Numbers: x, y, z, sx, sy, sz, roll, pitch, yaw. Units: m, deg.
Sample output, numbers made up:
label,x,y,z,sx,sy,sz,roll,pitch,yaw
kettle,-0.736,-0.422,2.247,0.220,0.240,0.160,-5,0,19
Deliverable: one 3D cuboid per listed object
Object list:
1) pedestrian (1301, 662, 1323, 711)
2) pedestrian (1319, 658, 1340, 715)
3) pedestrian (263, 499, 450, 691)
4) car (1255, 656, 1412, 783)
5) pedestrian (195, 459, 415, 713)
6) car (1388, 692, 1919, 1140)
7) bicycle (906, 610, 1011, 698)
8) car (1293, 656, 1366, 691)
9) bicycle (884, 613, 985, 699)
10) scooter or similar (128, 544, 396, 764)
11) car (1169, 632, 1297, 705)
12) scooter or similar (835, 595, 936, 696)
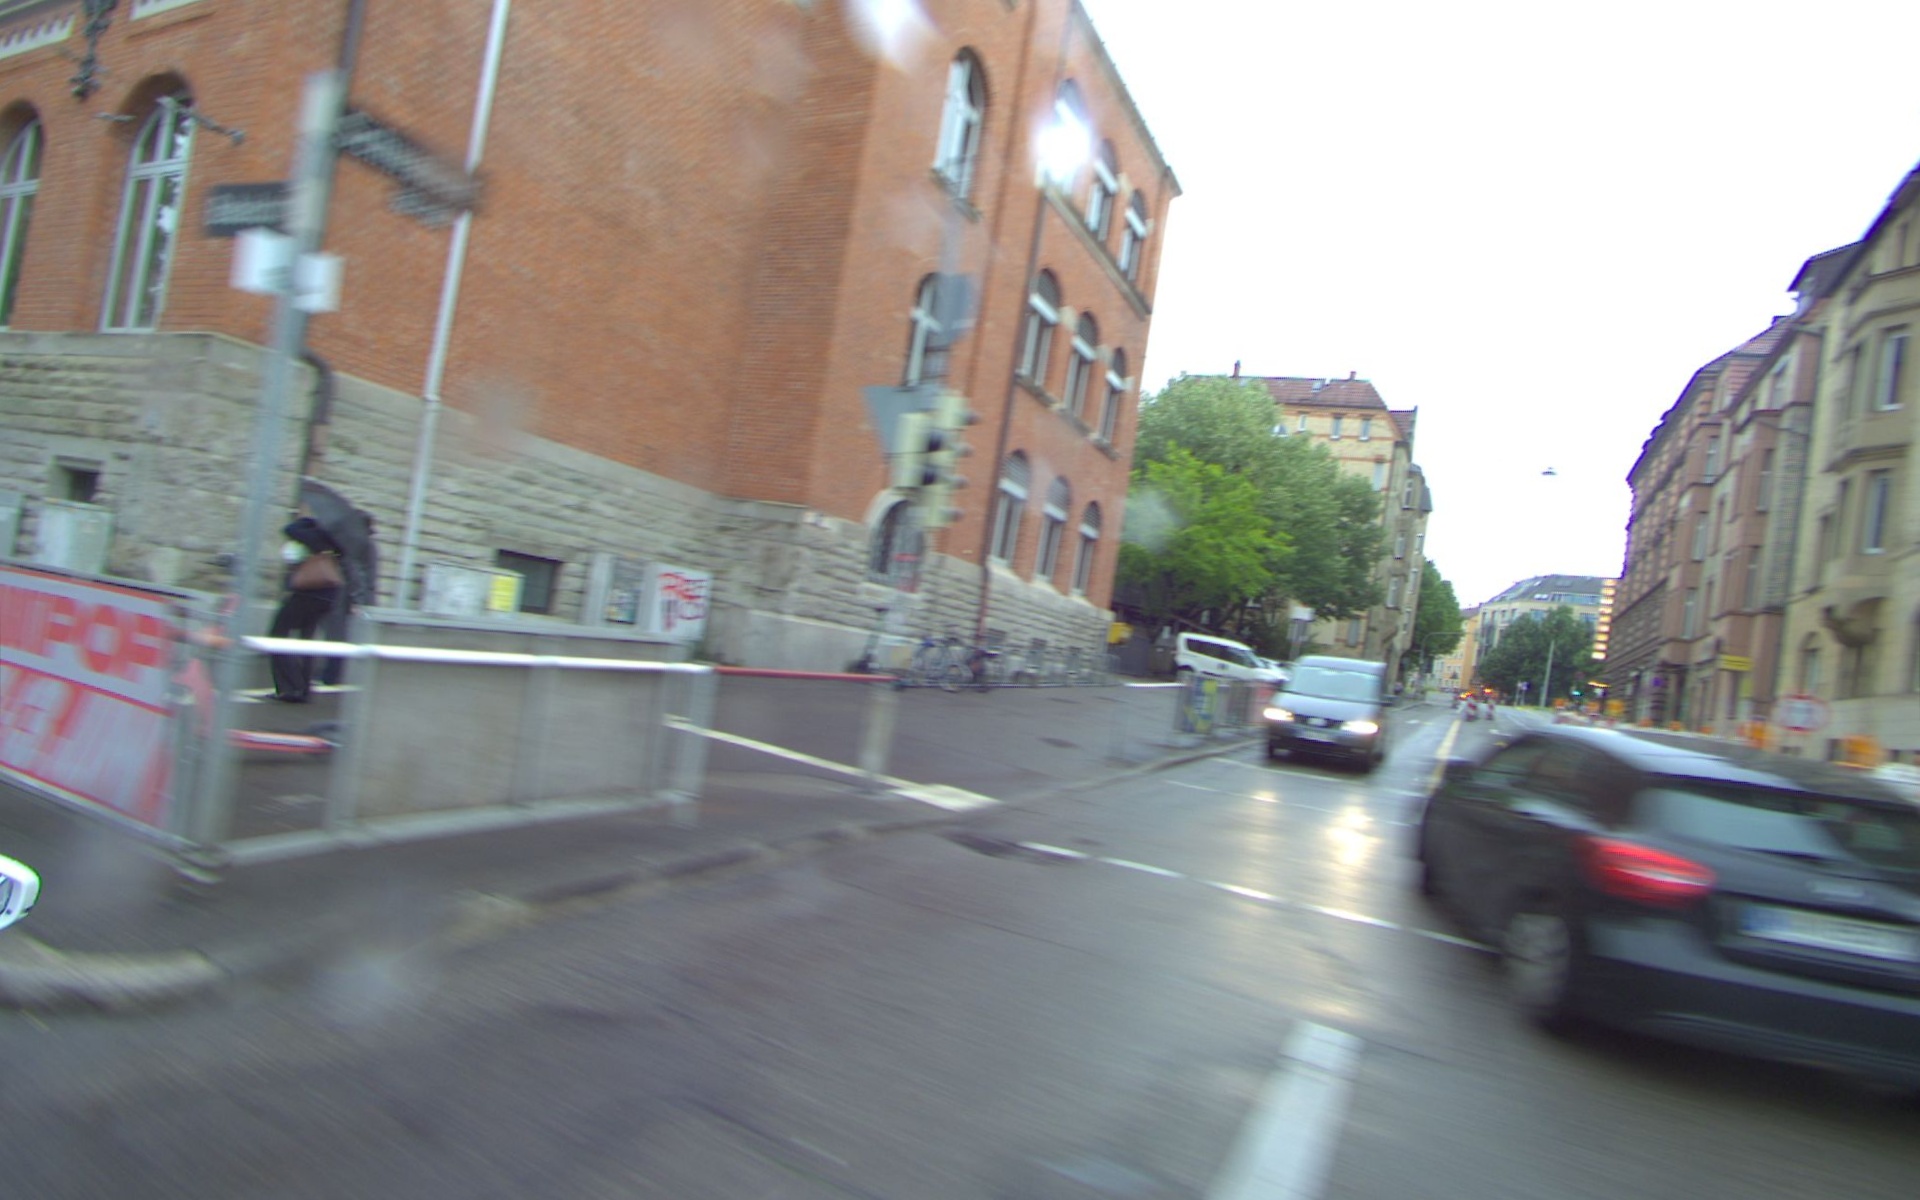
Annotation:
label,x,y,z,sx,sy,sz,roll,pitch,yaw
pedestrian,12.256,3.002,35.001,0.483,1.638,0.525,6,-2,27
pedestrian,12.762,2.990,34.757,0.427,1.919,0.537,6,-2,27
pedestrian,-5.693,-0.026,9.518,1.054,1.645,0.960,6,0,27
car,6.489,1.927,17.232,1.706,1.718,3.991,6,0,30
pedestrian,-5.406,-0.102,8.330,1.054,1.910,0.960,7,0,27
car,3.861,1.416,5.818,1.766,1.391,4.004,7,-1,14
bicycle,-0.042,1.003,18.981,1.808,1.261,0.344,13,4,26
car,22.824,4.543,62.169,3.930,1.637,1.830,6,-1,27
bicycle,-0.468,0.996,18.066,1.637,1.218,0.414,12,4,26
scooter or similar,-4.448,0.367,6.443,1.242,1.265,0.631,8,-1,-41
car,9.710,2.448,35.757,3.944,2.036,2.000,6,-2,25
scooter or similar,-1.247,0.743,16.704,1.491,1.435,0.409,9,0,29
